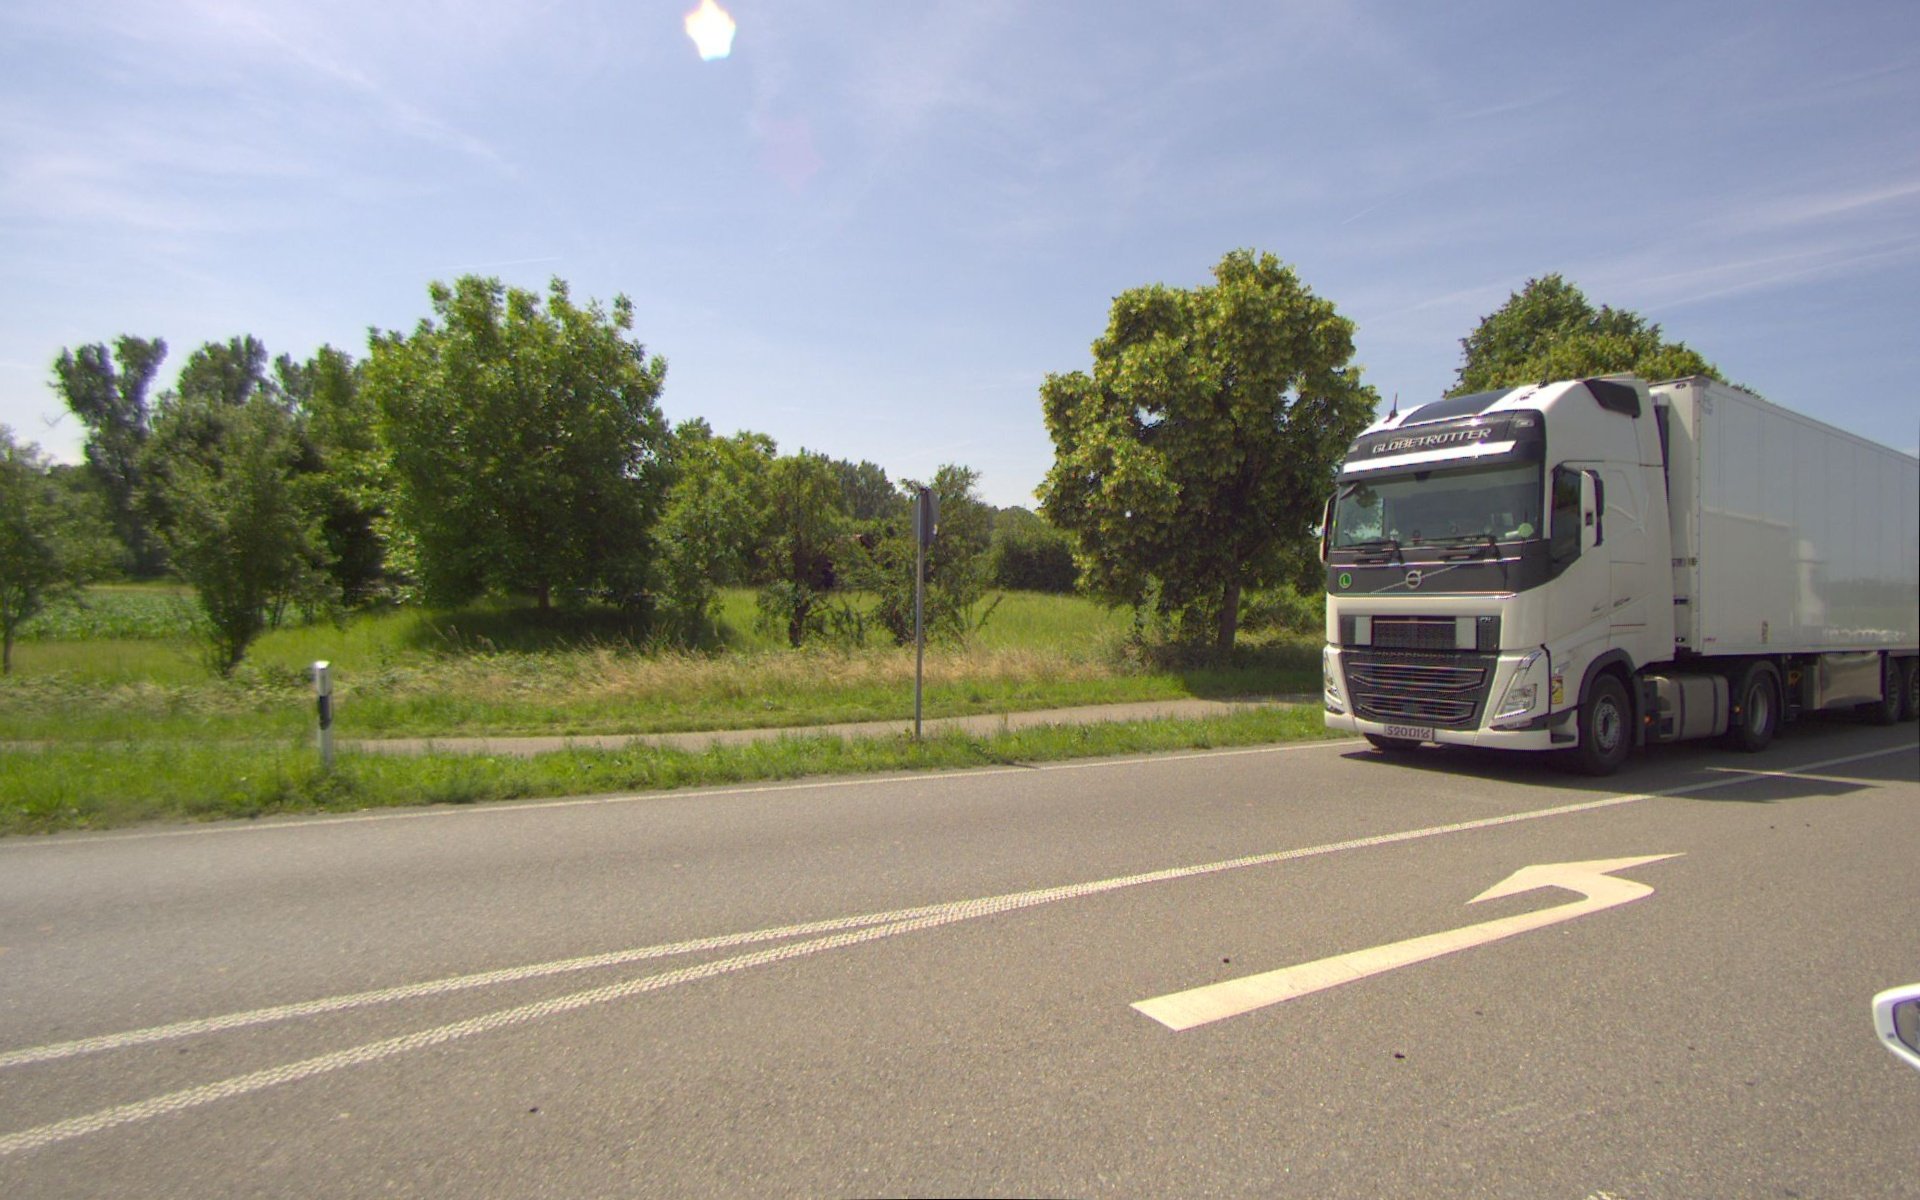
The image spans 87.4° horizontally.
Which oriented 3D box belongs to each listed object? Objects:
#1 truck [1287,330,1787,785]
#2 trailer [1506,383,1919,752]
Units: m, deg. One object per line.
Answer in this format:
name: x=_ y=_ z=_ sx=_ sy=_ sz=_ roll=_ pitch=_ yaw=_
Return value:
truck: x=6.730 y=-0.326 z=11.541 sx=5.645 sy=3.995 sz=2.762 roll=1 pitch=-1 yaw=-33
trailer: x=12.879 y=-0.270 z=15.834 sx=11.546 sy=4.156 sz=2.759 roll=1 pitch=0 yaw=-36
